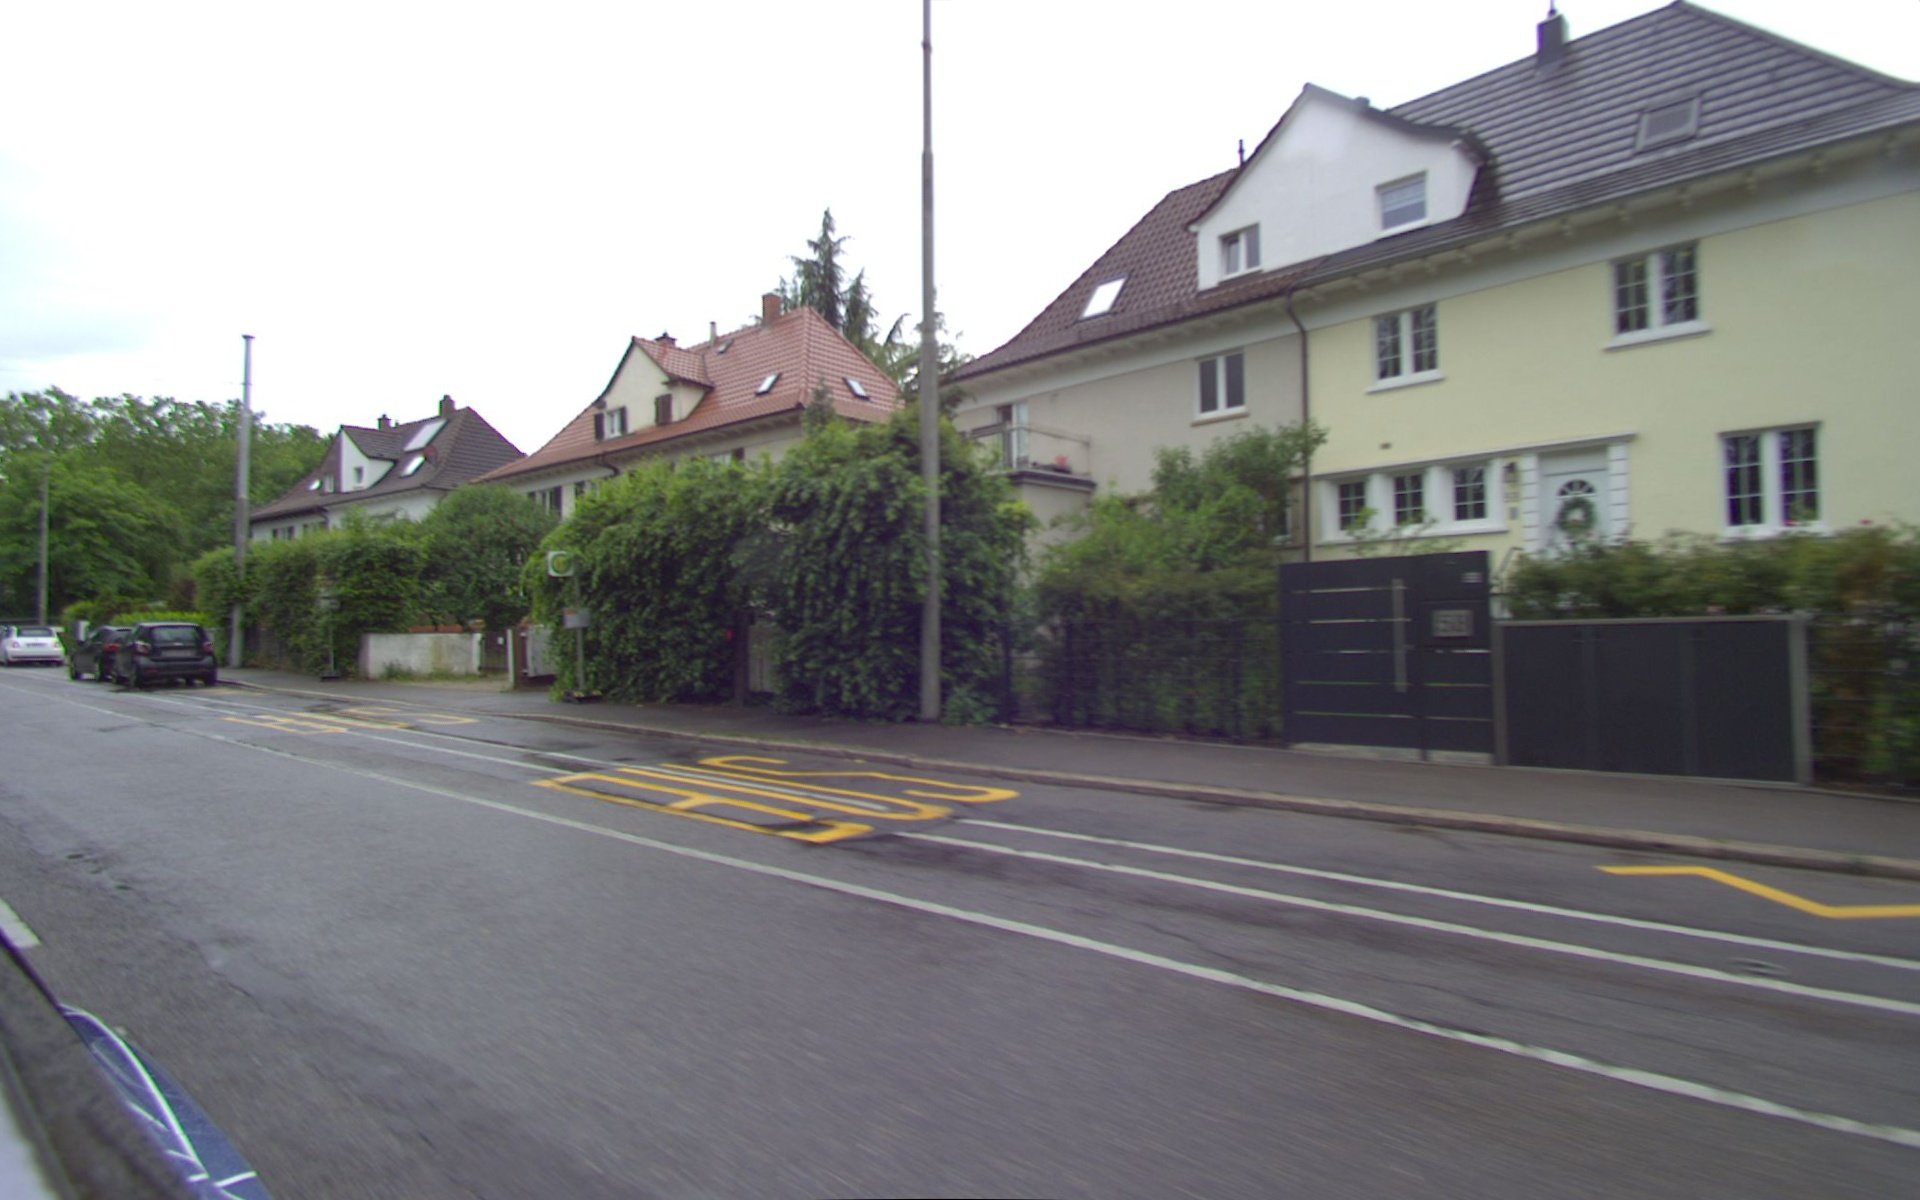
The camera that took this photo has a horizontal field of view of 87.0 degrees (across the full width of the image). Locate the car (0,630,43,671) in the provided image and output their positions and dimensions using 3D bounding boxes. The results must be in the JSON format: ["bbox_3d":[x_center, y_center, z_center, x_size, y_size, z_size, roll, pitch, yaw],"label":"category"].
[{"bbox_3d":[-37.748,1.952,39.886,4.417,1.536,1.682,-1,-1,38],"label":"car"}]

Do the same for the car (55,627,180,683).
[{"bbox_3d":[-22.863,1.468,27.420,4.208,1.429,1.672,-2,-3,37],"label":"car"}]

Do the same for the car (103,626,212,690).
[{"bbox_3d":[-19.647,1.387,24.752,3.027,1.465,1.503,-2,-3,40],"label":"car"}]

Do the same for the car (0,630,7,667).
[{"bbox_3d":[-42.150,2.132,43.429,1.713,1.433,4.285,0,-4,-45],"label":"car"}]

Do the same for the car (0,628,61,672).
[{"bbox_3d":[-34.342,1.797,37.082,3.710,1.479,1.680,-1,-1,42],"label":"car"}]
